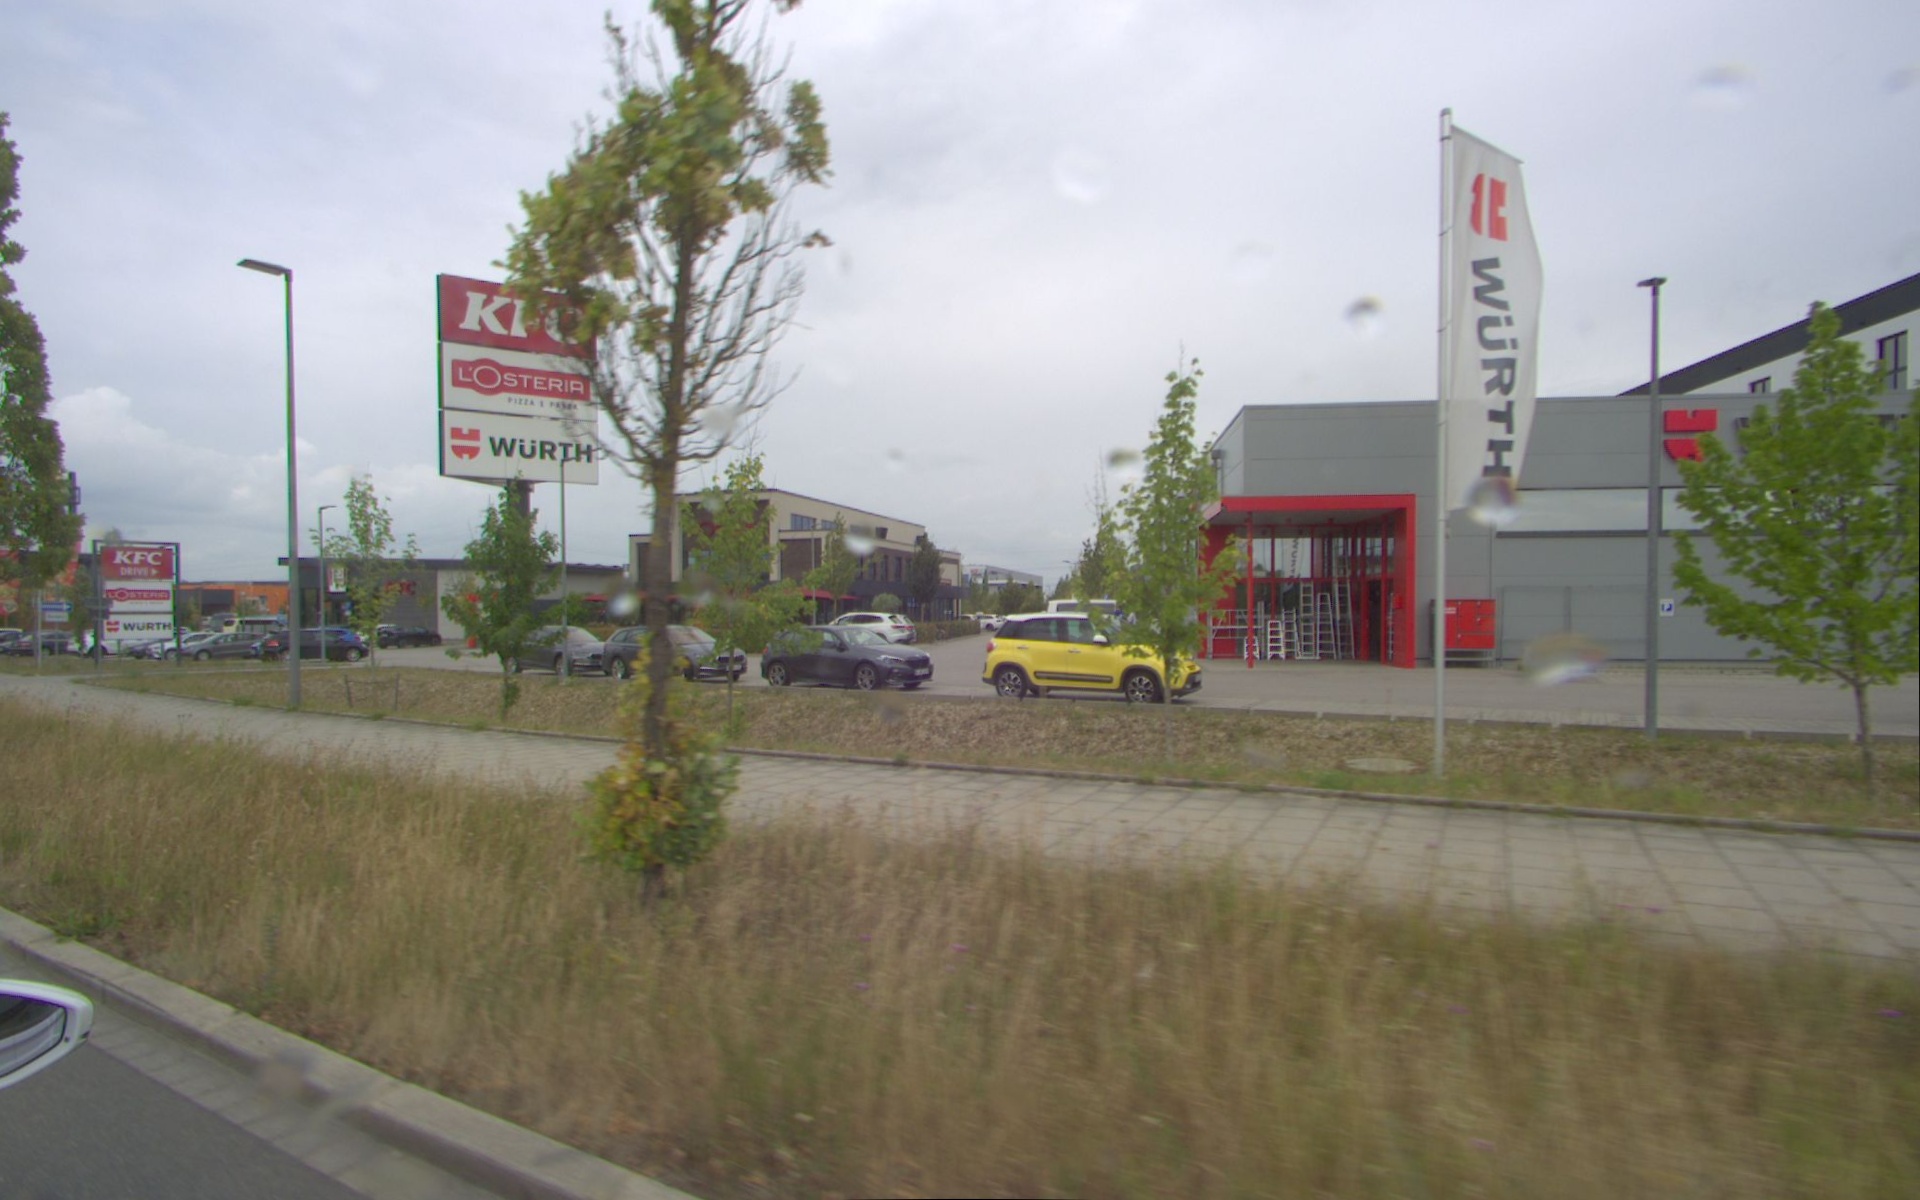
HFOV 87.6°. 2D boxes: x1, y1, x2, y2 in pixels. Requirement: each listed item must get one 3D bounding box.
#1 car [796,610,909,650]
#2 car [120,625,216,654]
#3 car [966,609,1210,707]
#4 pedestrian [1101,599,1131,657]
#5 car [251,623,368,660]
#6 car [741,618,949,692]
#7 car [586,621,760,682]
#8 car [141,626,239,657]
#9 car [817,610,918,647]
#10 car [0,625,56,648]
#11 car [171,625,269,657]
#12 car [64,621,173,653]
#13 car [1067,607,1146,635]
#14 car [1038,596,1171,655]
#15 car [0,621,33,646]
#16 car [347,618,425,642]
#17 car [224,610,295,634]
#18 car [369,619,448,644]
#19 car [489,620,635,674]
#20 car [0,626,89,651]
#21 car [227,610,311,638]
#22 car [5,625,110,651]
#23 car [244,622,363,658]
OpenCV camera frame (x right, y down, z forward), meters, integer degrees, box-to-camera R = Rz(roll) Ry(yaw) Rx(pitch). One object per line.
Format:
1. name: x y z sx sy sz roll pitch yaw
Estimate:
1. car: -4.794 1.336 44.985 4.701 1.719 1.999 0 0 9
2. car: -45.921 2.286 58.150 1.913 1.504 3.979 -1 -1 32
3. car: 2.444 1.033 19.274 4.341 1.708 1.762 0 0 27
4. pedestrian: 5.213 0.932 33.542 0.790 1.893 0.611 0 0 -31
5. car: -28.870 1.801 44.518 1.958 1.513 3.969 -1 -1 40
6. car: -2.692 1.234 23.042 4.545 1.516 1.989 -2 -1 33
7. car: -7.708 1.301 26.712 4.814 1.456 1.858 -1 0 35
8. car: -42.230 2.225 54.957 1.876 1.501 3.851 -1 1 33
9. car: -4.355 1.349 47.657 4.450 1.700 2.133 0 0 6
10. car: -63.637 2.459 66.839 2.038 1.455 4.473 0 0 20
11. car: -38.444 2.102 52.084 1.864 1.513 3.747 -1 -1 35
12. car: -50.501 2.201 60.159 2.056 1.667 4.556 -1 1 28
13. car: 8.628 1.221 58.939 4.489 1.539 2.079 -1 0 10
14. car: 5.054 0.885 35.374 4.546 2.013 2.000 0 0 7
15. car: -65.944 2.301 67.749 1.903 1.661 4.355 0 0 18
16. car: -40.560 2.129 70.860 2.044 1.539 4.567 -1 0 19
17. car: -75.975 2.398 108.679 5.950 2.562 2.273 0 0 -24
18. car: -36.844 2.096 67.029 1.942 1.539 4.569 -1 0 17
19. car: -12.058 1.348 30.212 4.770 1.479 1.955 -1 0 37
20. car: -59.262 2.443 64.684 1.909 1.457 4.087 0 0 21
21. car: -60.218 2.073 87.402 2.492 2.382 5.678 0 0 21
22. car: -56.780 2.387 63.115 1.998 1.488 4.519 0 0 23
23. car: -30.488 1.836 46.605 1.941 1.540 4.247 -1 -1 37
